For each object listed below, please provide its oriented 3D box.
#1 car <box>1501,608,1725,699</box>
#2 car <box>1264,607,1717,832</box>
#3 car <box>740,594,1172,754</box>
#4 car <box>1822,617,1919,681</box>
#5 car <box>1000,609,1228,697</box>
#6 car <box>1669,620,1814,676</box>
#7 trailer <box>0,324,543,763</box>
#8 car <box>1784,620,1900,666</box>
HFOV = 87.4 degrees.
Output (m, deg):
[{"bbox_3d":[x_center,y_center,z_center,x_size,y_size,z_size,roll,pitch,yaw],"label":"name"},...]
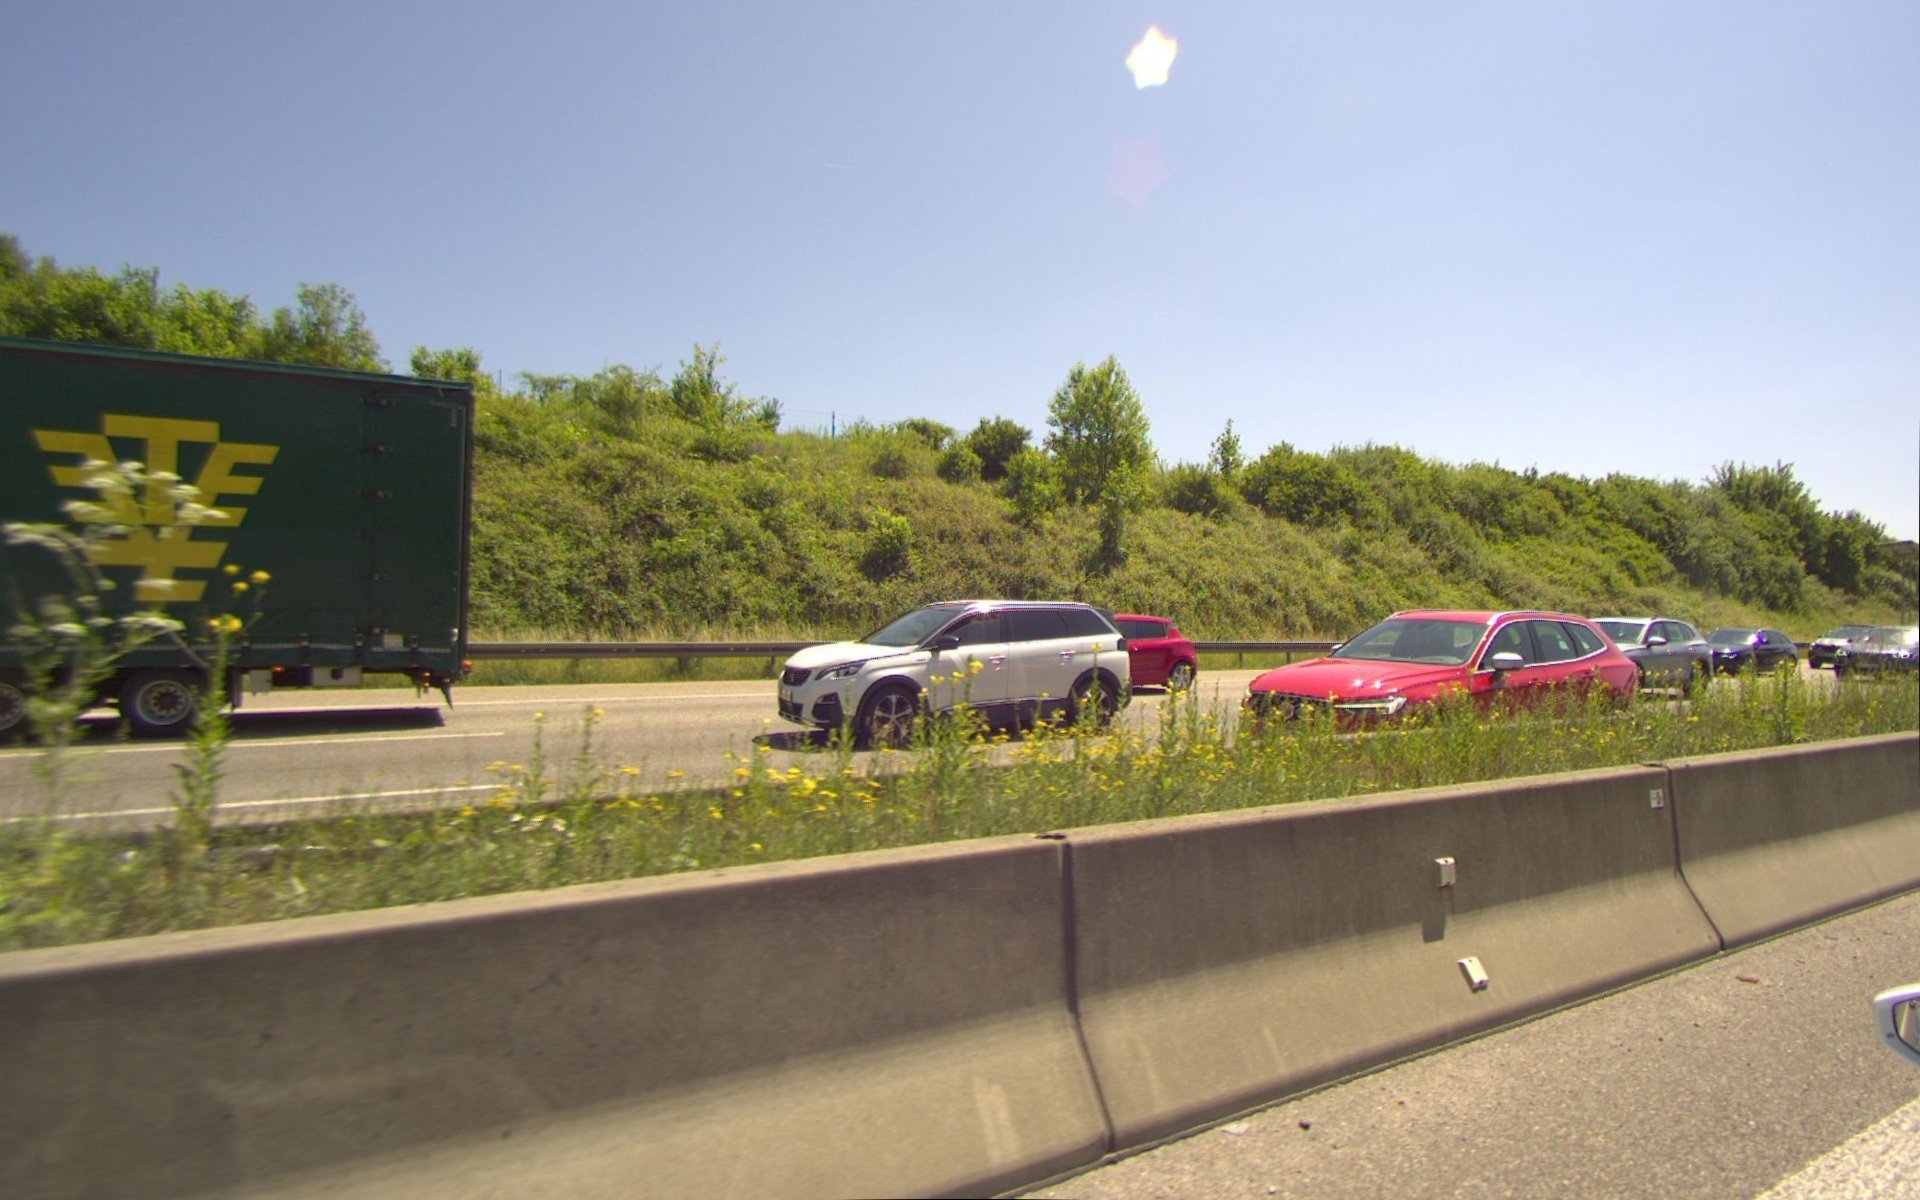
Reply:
[{"bbox_3d":[13.302,1.052,20.388,4.850,1.651,1.803,2,0,-30],"label":"car"},{"bbox_3d":[5.496,1.033,10.177,4.935,1.788,1.818,2,0,-32],"label":"car"},{"bbox_3d":[0.059,0.831,12.487,5.157,1.651,1.803,2,0,-30],"label":"car"},{"bbox_3d":[26.959,1.388,28.757,5.318,1.651,1.803,2,0,-30],"label":"car"},{"bbox_3d":[2.977,0.978,19.194,4.073,1.486,1.803,2,0,-30],"label":"car"},{"bbox_3d":[23.737,1.444,30.465,4.741,1.533,1.803,2,0,-30],"label":"car"},{"bbox_3d":[-11.338,-0.600,10.428,12.637,4.318,2.829,2,0,-30],"label":"trailer"},{"bbox_3d":[32.146,1.545,36.569,4.546,1.533,1.803,2,0,-30],"label":"car"}]
